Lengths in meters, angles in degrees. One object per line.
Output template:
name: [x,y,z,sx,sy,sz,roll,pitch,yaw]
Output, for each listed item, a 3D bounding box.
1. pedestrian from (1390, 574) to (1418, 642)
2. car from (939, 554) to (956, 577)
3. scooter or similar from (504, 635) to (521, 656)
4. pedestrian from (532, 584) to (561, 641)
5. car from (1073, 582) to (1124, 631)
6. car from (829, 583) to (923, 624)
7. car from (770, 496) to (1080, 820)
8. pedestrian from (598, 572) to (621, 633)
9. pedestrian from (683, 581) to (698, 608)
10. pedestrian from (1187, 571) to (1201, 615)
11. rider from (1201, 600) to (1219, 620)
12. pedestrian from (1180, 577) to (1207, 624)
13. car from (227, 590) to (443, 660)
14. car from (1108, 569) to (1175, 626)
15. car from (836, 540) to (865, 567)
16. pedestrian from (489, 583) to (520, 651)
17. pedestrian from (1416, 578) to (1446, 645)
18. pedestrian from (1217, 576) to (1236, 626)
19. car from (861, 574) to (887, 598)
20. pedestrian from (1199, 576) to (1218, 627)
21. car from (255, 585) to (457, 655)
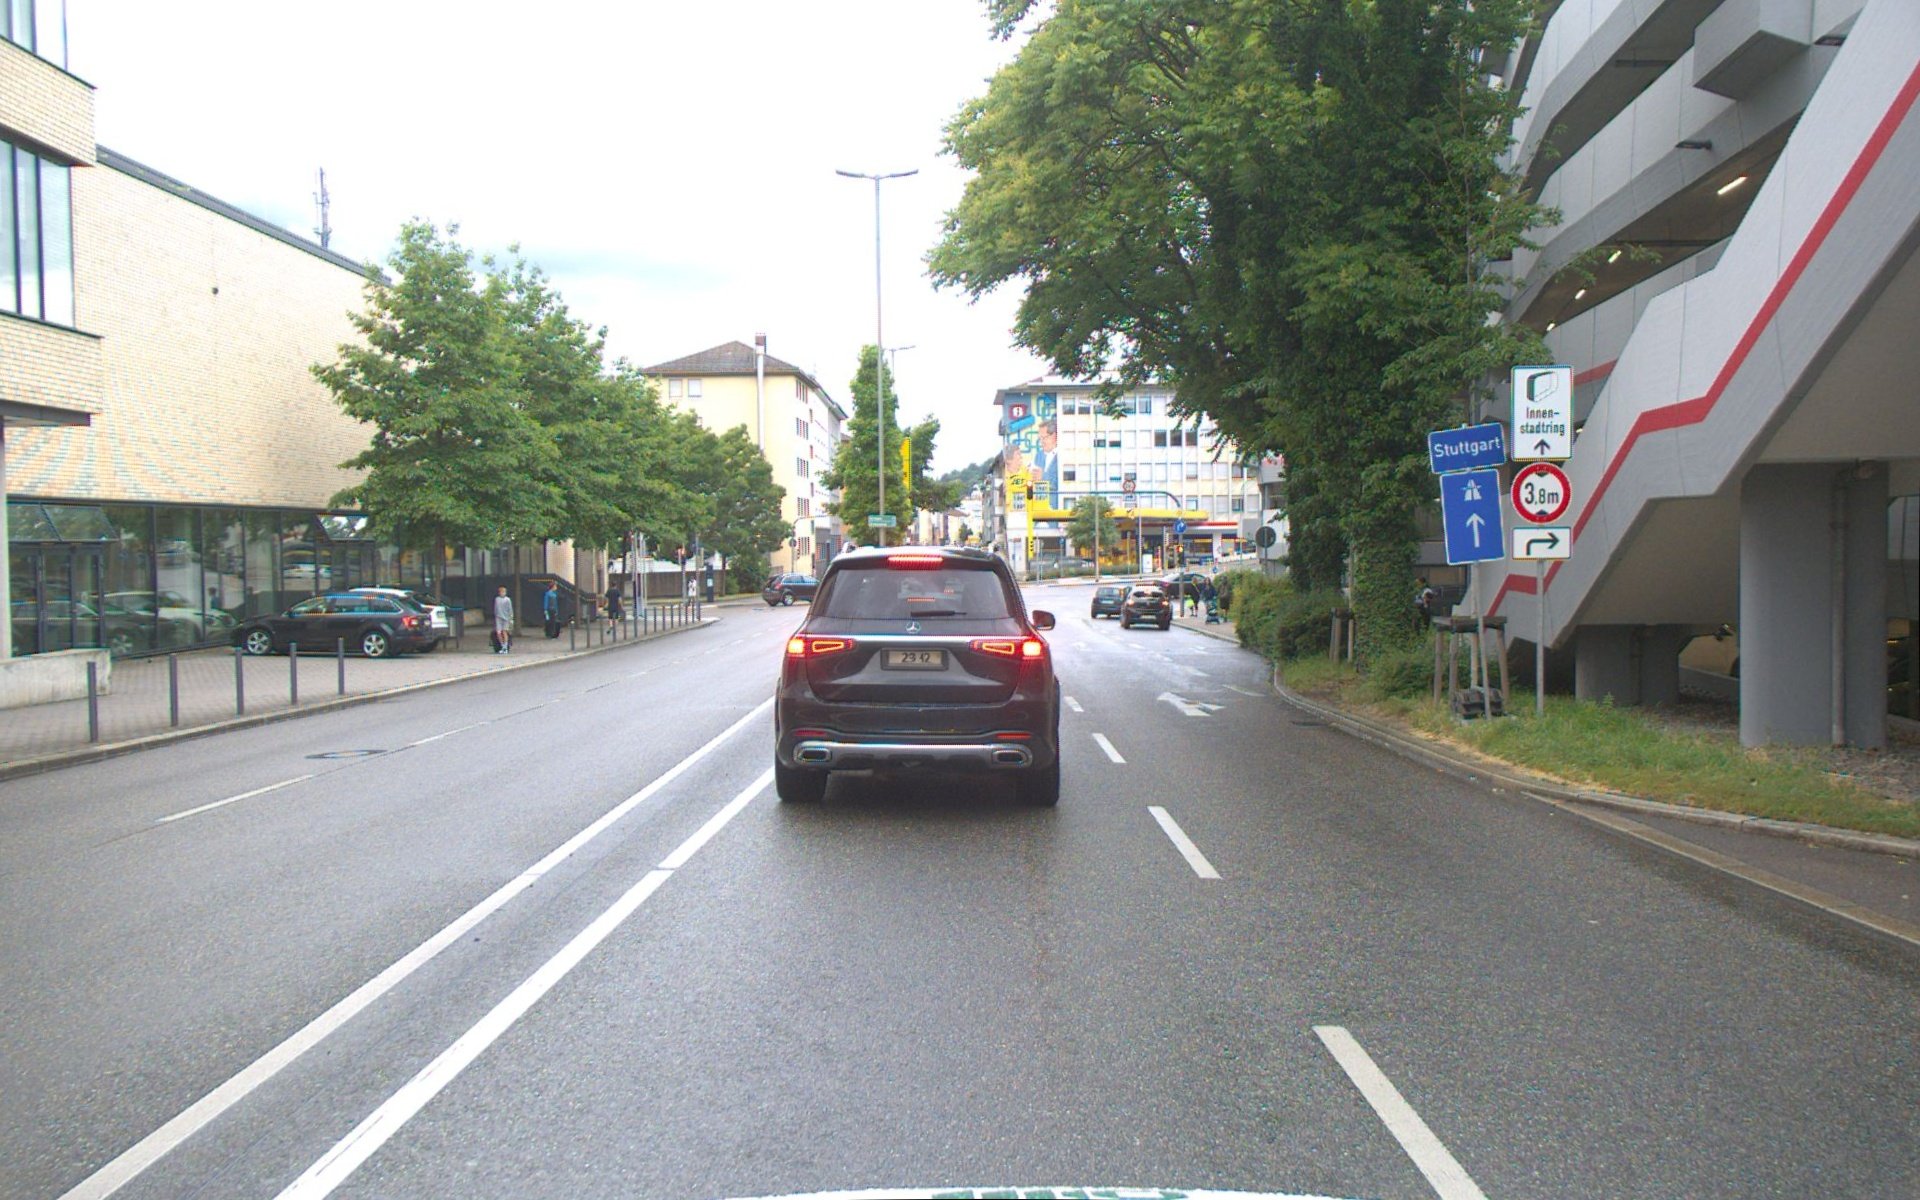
pedestrian: [10.337,0.185,38.510,0.539,1.559,0.488,1,-1,6]
car: [-1.432,-3.989,190.729,1.953,2.045,4.007,1,11,-1]
scooter or similar: [-11.632,1.178,42.978,0.274,0.509,0.616,1,0,-1]
pedestrian: [-12.823,0.389,51.305,0.674,1.756,0.754,1,-2,-1]
car: [6.090,0.299,73.155,1.952,2.049,4.000,1,0,1]
car: [-4.395,0.179,86.063,4.714,2.049,1.997,0,1,-8]
car: [-0.254,0.384,12.637,1.953,2.049,3.999,1,0,-1]
pedestrian: [-11.772,0.085,55.584,0.576,2.049,0.749,1,-1,-2]
pedestrian: [-14.971,-0.296,91.779,0.697,1.487,0.598,1,-1,-1]
pedestrian: [10.447,-0.309,73.923,0.509,1.944,0.556,1,-1,0]
rider: [9.602,0.371,63.519,0.679,0.753,0.633,1,0,9]
pedestrian: [10.292,0.017,72.971,1.004,2.049,0.999,1,0,-1]
car: [-14.705,0.576,39.142,4.382,1.615,1.997,0,0,-6]
car: [6.696,-0.115,61.393,1.953,2.049,3.999,0,1,-2]
car: [-8.527,-3.576,129.038,1.953,1.908,5.140,1,0,-1]
pedestrian: [-11.716,0.437,42.550,0.662,1.726,0.479,1,2,0]
pedestrian: [10.917,0.258,38.377,0.569,1.527,0.504,1,-1,6]
pedestrian: [10.479,0.036,64.974,0.607,1.969,0.610,1,-1,-1]
car: [-7.927,-1.275,152.080,1.957,2.049,3.991,1,0,-10]
pedestrian: [9.670,0.068,64.311,0.648,1.951,0.729,1,0,11]
car: [-14.997,0.472,41.252,4.330,1.601,1.998,1,2,-5]
